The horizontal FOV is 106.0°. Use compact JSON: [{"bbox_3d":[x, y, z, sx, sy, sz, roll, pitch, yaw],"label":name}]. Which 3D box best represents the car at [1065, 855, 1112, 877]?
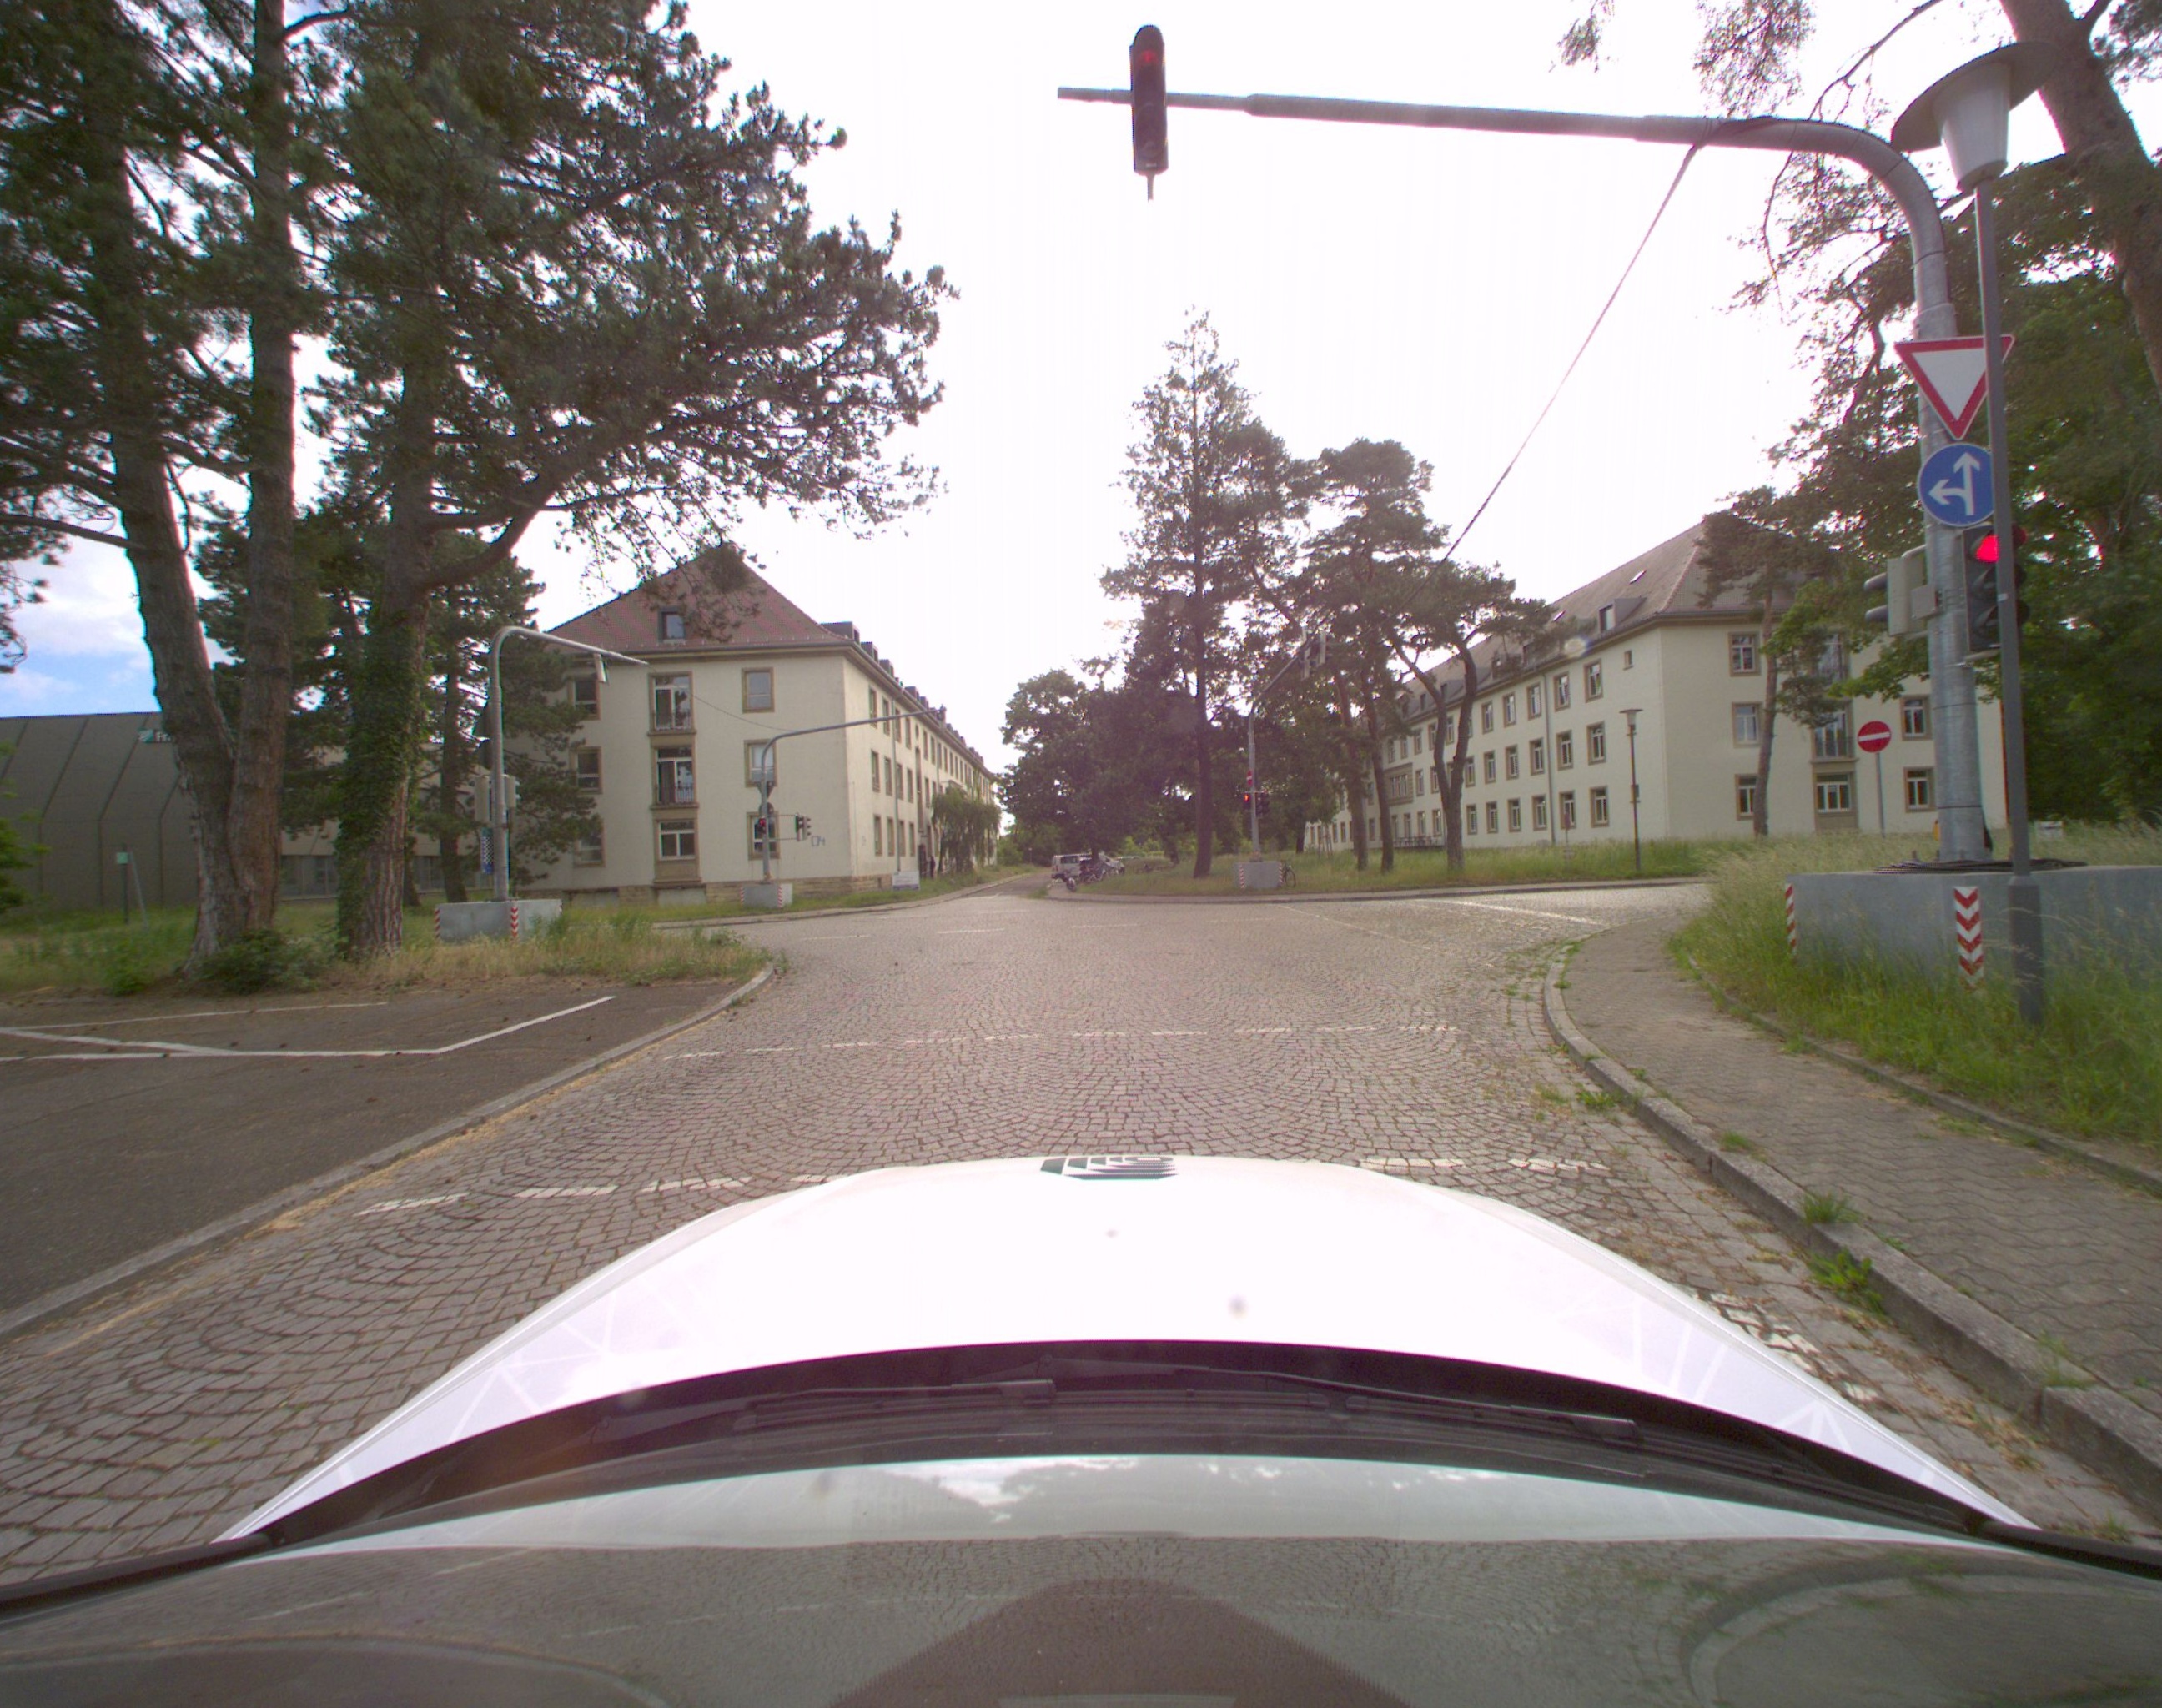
[{"bbox_3d":[0.671,1.089,72.403,4.020,1.718,1.680,-3,-1,-2],"label":"car"}]

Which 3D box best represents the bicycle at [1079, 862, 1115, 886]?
[{"bbox_3d":[0.885,1.122,46.076,1.977,1.248,0.624,-2,-1,-2],"label":"bicycle"}]

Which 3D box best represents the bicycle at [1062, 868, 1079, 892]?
[{"bbox_3d":[-0.504,1.218,38.983,0.619,1.082,1.679,-2,-1,4],"label":"bicycle"}]

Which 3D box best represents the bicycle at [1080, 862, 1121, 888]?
[{"bbox_3d":[0.981,1.057,41.049,1.977,1.248,0.624,-2,-1,-2],"label":"bicycle"}]

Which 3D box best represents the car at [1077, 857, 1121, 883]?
[{"bbox_3d":[1.177,1.064,55.045,2.839,1.558,1.471,-3,1,-1],"label":"car"}]

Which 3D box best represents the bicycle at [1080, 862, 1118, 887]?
[{"bbox_3d":[0.950,1.088,43.467,1.977,1.248,0.624,-2,-1,-2],"label":"bicycle"}]

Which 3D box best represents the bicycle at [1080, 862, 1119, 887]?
[{"bbox_3d":[0.950,1.080,42.834,1.977,1.248,0.624,-2,-1,-2],"label":"bicycle"}]

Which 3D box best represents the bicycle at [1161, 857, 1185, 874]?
[{"bbox_3d":[6.259,0.788,55.265,1.543,1.124,0.401,-3,-1,1],"label":"bicycle"}]

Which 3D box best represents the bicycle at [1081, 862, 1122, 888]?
[{"bbox_3d":[0.987,1.049,40.420,1.977,1.248,0.624,-2,-1,-2],"label":"bicycle"}]

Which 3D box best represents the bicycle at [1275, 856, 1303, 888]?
[{"bbox_3d":[7.158,0.615,28.063,0.578,0.970,1.680,-4,1,4],"label":"bicycle"}]

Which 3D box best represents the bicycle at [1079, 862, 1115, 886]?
[{"bbox_3d":[0.906,1.116,45.582,1.977,1.248,0.624,-2,-1,-2],"label":"bicycle"}]

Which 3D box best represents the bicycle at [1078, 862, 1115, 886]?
[{"bbox_3d":[0.878,1.131,46.735,1.977,1.248,0.624,-4,-1,-2],"label":"bicycle"}]

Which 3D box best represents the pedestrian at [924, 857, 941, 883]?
[{"bbox_3d":[-10.240,1.092,56.226,0.833,1.781,0.942,-2,-1,5],"label":"pedestrian"}]

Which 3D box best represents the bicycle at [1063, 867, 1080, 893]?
[{"bbox_3d":[-0.420,1.176,37.030,0.620,1.113,1.990,-2,-1,3],"label":"bicycle"}]

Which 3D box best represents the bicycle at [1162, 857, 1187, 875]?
[{"bbox_3d":[6.193,0.778,54.033,1.543,1.124,0.401,-3,-1,1],"label":"bicycle"}]

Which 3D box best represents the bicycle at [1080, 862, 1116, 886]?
[{"bbox_3d":[0.934,1.109,45.070,1.977,1.248,0.624,-2,-1,-2],"label":"bicycle"}]

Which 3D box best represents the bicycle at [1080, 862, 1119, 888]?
[{"bbox_3d":[0.959,1.069,41.975,1.977,1.248,0.624,-2,-1,-2],"label":"bicycle"}]

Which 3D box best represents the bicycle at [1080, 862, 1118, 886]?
[{"bbox_3d":[0.961,1.094,43.992,1.977,1.248,0.624,-2,-1,-2],"label":"bicycle"}]

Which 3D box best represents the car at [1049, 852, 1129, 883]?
[{"bbox_3d":[0.537,0.946,58.516,5.314,1.916,2.139,-3,0,-15],"label":"car"}]

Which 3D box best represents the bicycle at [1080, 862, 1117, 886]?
[{"bbox_3d":[0.941,1.100,44.439,1.977,1.248,0.624,-2,-1,-2],"label":"bicycle"}]
